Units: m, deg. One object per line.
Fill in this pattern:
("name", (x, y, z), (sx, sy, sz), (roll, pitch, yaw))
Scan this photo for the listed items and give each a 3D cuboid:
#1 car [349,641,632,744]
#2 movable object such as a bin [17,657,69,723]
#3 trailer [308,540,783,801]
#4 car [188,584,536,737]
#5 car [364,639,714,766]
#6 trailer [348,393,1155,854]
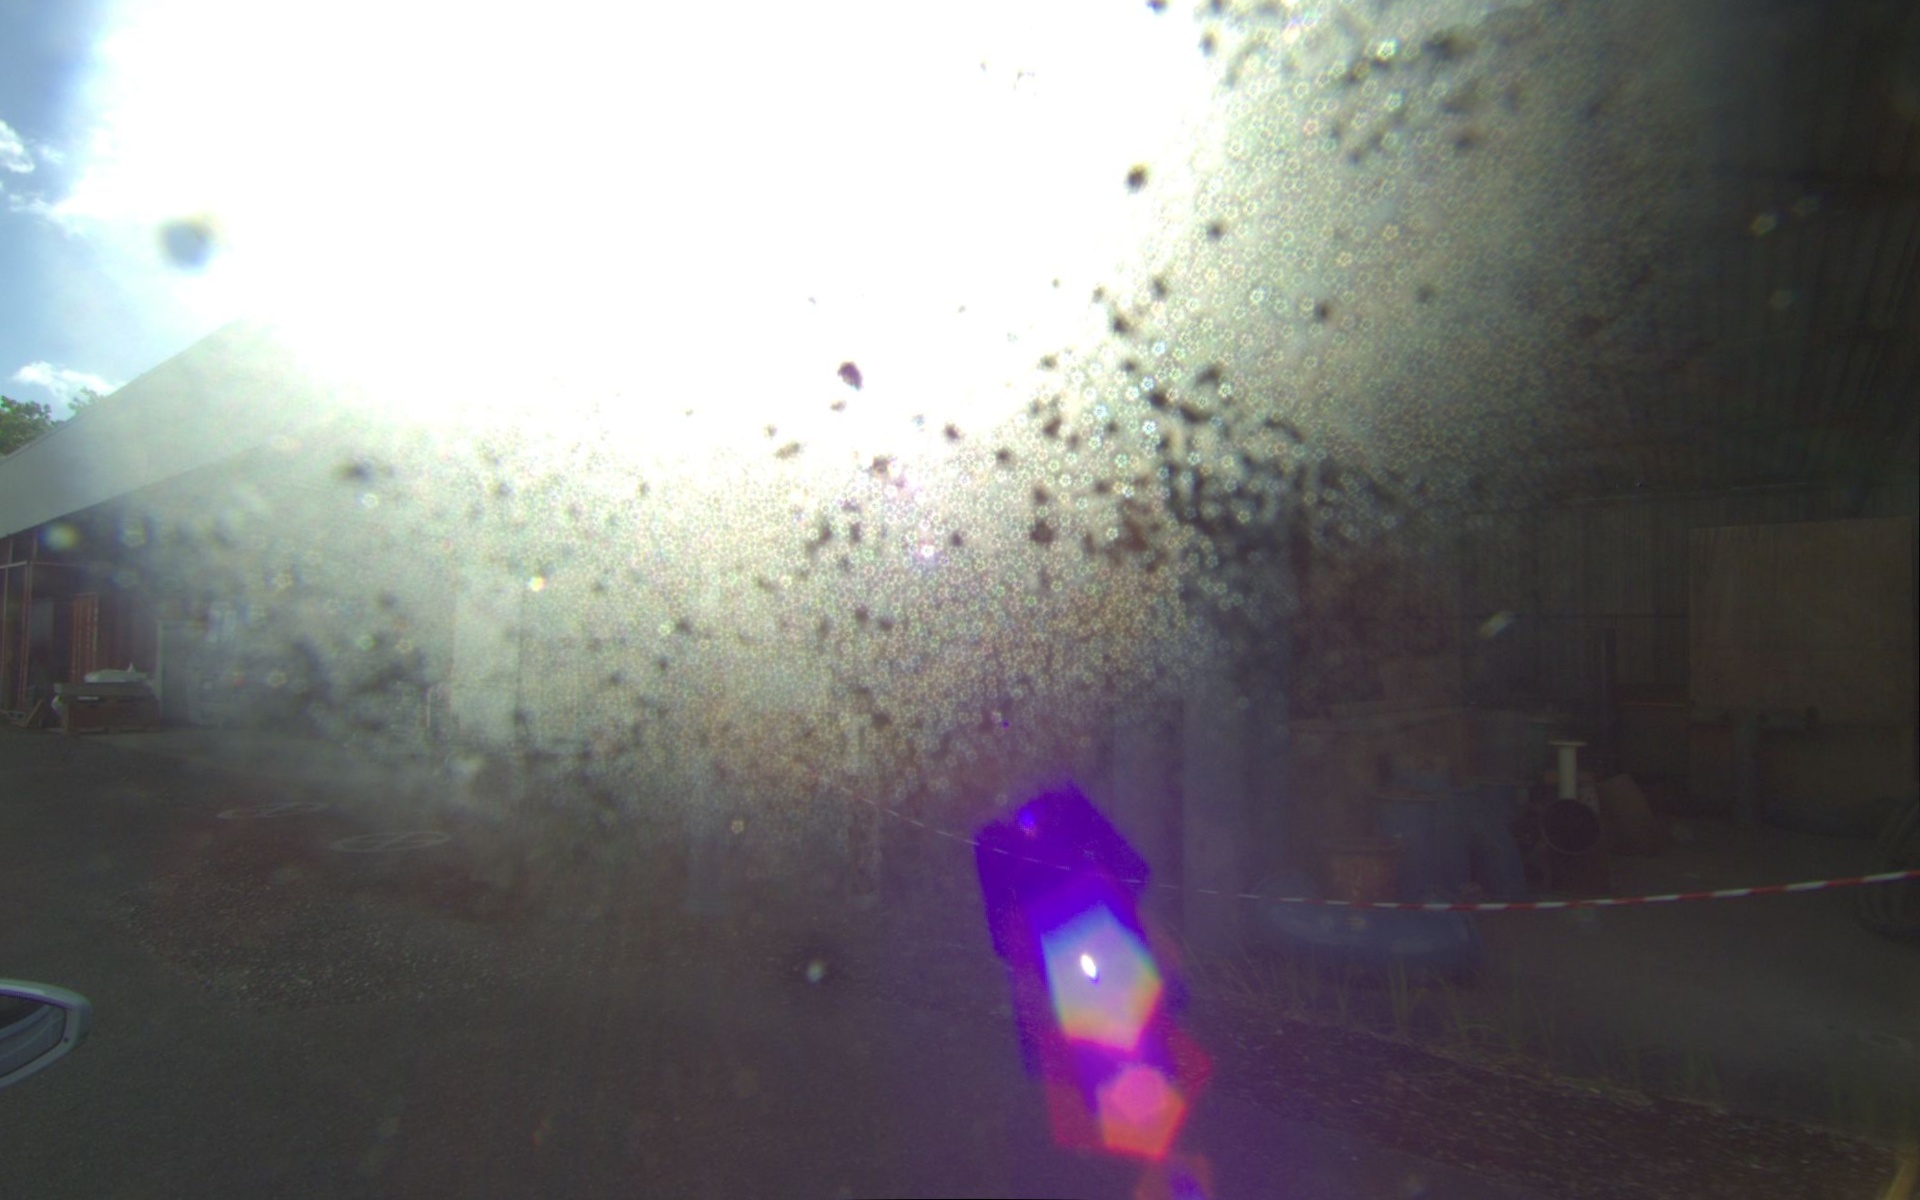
("car", (-7.723, 1.486, 16.834), (1.763, 1.491, 3.981), (-1, -4, 33))
("movable object such as a bin", (-17.114, 1.659, 18.676), (1.224, 1.179, 0.579), (-2, -3, 42))
("trailer", (-4.550, 0.794, 11.689), (1.807, 2.420, 4.790), (-2, -4, 42))
("car", (-10.544, 1.103, 18.051), (1.975, 2.354, 4.964), (-1, -4, 38))
("car", (-5.780, 1.361, 14.270), (1.754, 1.514, 4.319), (-1, -4, 35))
("trailer", (-1.210, 0.440, 11.933), (2.818, 3.255, 10.007), (-1, -4, 37))
